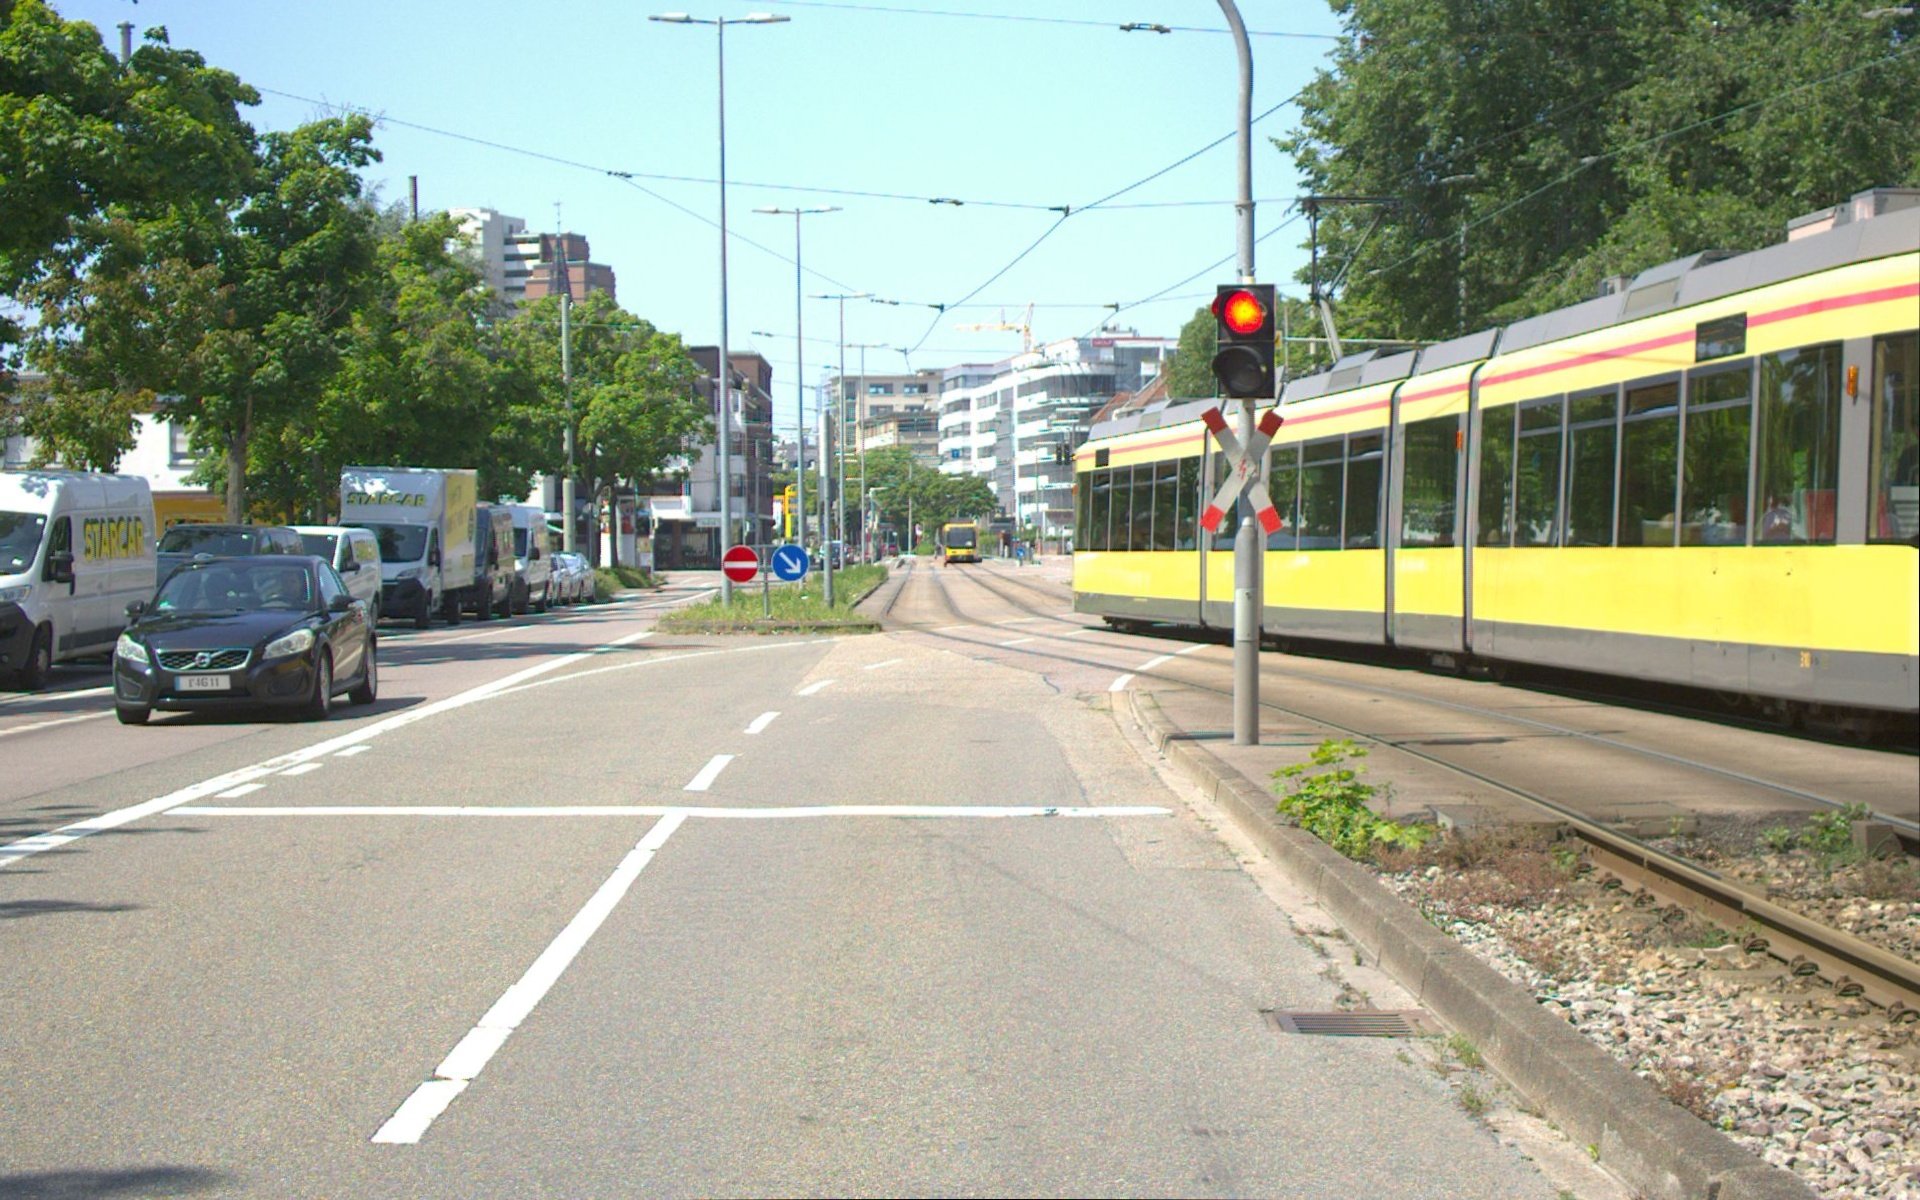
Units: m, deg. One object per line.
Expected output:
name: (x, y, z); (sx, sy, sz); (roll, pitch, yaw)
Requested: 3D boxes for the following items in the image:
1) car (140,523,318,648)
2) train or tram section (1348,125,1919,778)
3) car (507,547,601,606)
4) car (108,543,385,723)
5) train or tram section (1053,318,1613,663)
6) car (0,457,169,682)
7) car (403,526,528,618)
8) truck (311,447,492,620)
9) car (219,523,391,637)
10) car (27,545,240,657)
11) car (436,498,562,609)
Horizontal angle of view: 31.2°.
car: (-11.529, -0.264, 54.494); (1.868, 1.888, 4.271); (-1, 1, 0)
train or tram section: (6.296, -1.031, 27.946); (2.943, 3.679, 18.392); (0, 1, -4)
car: (-11.512, -0.694, 97.798); (2.061, 1.576, 4.871); (-1, 1, 0)
car: (-6.223, 0.238, 30.375); (1.677, 1.393, 4.006); (-3, 1, -2)
train or tram section: (4.299, -1.415, 47.037); (2.943, 3.679, 20.289); (0, 1, -7)
car: (-11.327, -0.394, 40.995); (2.157, 2.478, 6.193); (0, 1, 2)
car: (-11.000, -0.648, 76.778); (2.061, 1.970, 4.871); (-1, 1, 0)
truck: (-11.141, -1.349, 69.150); (2.157, 3.199, 7.082); (3, 1, 2)
car: (-11.475, -0.390, 60.570); (2.061, 1.891, 4.871); (-1, 1, 0)
car: (-11.333, -0.026, 47.416); (1.868, 1.432, 4.343); (-1, 1, 0)
car: (-11.270, -1.160, 84.396); (2.157, 2.630, 5.611); (0, 1, 2)
